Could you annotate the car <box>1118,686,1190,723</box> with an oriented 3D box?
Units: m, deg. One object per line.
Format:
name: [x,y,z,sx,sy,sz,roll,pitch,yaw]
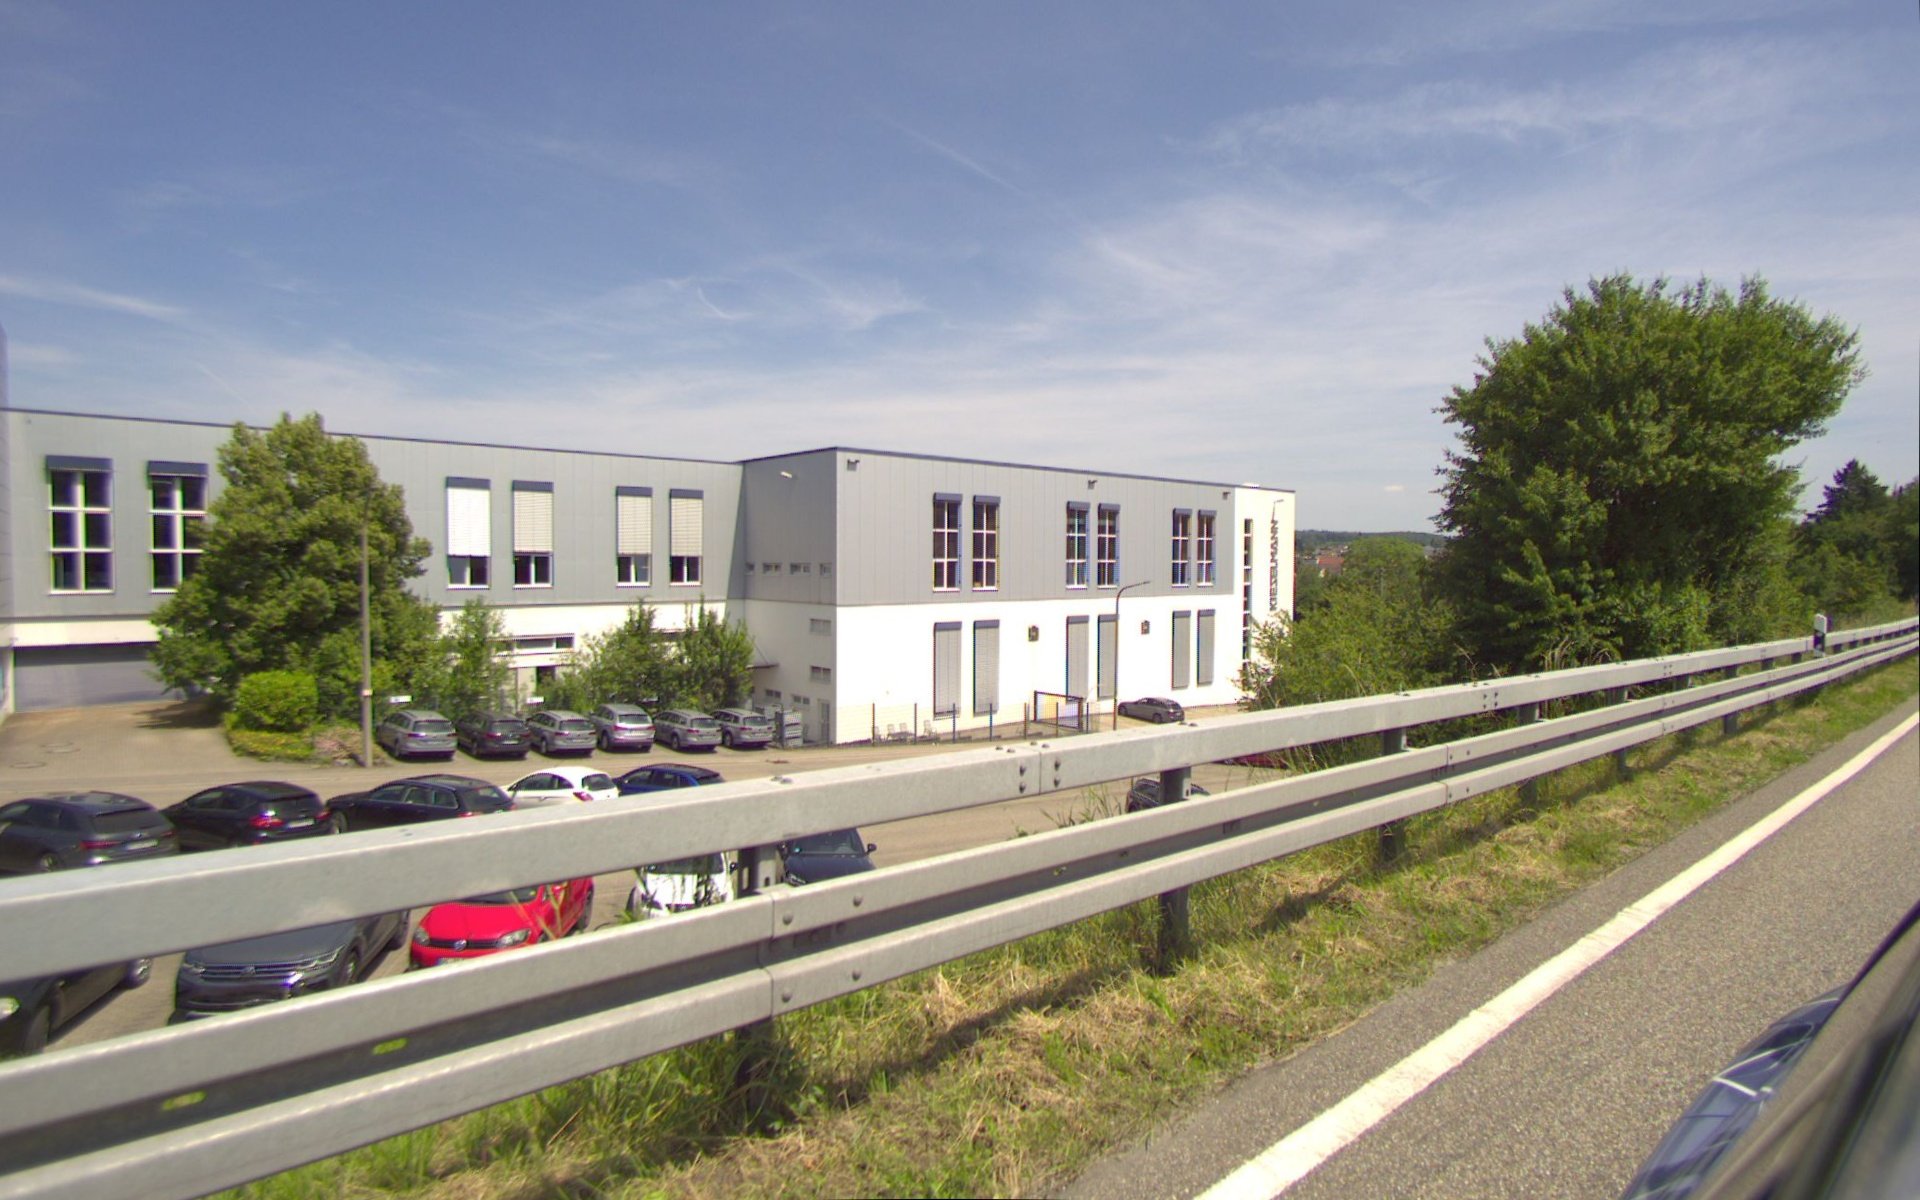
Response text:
car: [12.248,6.576,64.023,1.879,1.591,4.046,4,3,-42]

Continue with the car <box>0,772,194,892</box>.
car: [-16.828,4.213,18.782,4.347,1.530,1.781,2,-4,15]

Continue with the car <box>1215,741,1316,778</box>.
car: [14.102,7.312,46.708,4.354,1.464,1.778,-2,-5,19]

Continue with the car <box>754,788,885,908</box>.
car: [-2.916,4.796,20.181,1.752,1.564,4.417,1,-5,-19]

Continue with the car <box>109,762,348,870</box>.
car: [-15.124,4.379,20.941,4.355,1.556,1.778,2,-4,20]

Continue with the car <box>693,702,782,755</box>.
car: [-9.581,5.458,43.398,1.879,1.592,4.044,3,0,-42]

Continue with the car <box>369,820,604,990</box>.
car: [-7.123,4.559,15.803,1.946,1.580,4.412,0,-4,-6]

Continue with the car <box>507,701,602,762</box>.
car: [-15.419,4.917,38.381,1.789,1.592,4.579,3,0,-42]

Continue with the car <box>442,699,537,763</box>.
car: [-17.096,4.672,36.660,1.789,1.592,4.579,3,0,-42]

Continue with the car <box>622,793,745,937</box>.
car: [-5.113,4.621,18.328,1.859,1.685,4.417,1,-5,-19]

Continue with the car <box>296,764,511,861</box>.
car: [-12.659,4.764,23.058,4.355,1.561,1.778,1,-4,20]

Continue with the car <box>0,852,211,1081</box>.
car: [-11.306,4.292,12.233,1.919,1.585,4.731,1,-5,-14]

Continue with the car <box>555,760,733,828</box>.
car: [-8.444,5.133,27.062,4.354,1.464,1.778,-2,-5,19]

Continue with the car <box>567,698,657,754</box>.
car: [-13.882,4.963,40.242,1.879,1.592,4.044,3,0,-42]

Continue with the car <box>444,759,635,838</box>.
car: [-10.558,4.925,25.459,4.354,1.626,1.778,-2,-5,19]

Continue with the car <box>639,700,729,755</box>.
car: [-11.366,5.178,41.583,1.879,1.592,4.044,3,0,-42]

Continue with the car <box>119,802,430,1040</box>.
car: [-9.153,4.170,14.105,2.035,2.041,4.731,1,-5,-14]

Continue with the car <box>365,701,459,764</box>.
car: [-19.092,4.528,35.165,1.789,1.592,4.577,3,-2,-42]
